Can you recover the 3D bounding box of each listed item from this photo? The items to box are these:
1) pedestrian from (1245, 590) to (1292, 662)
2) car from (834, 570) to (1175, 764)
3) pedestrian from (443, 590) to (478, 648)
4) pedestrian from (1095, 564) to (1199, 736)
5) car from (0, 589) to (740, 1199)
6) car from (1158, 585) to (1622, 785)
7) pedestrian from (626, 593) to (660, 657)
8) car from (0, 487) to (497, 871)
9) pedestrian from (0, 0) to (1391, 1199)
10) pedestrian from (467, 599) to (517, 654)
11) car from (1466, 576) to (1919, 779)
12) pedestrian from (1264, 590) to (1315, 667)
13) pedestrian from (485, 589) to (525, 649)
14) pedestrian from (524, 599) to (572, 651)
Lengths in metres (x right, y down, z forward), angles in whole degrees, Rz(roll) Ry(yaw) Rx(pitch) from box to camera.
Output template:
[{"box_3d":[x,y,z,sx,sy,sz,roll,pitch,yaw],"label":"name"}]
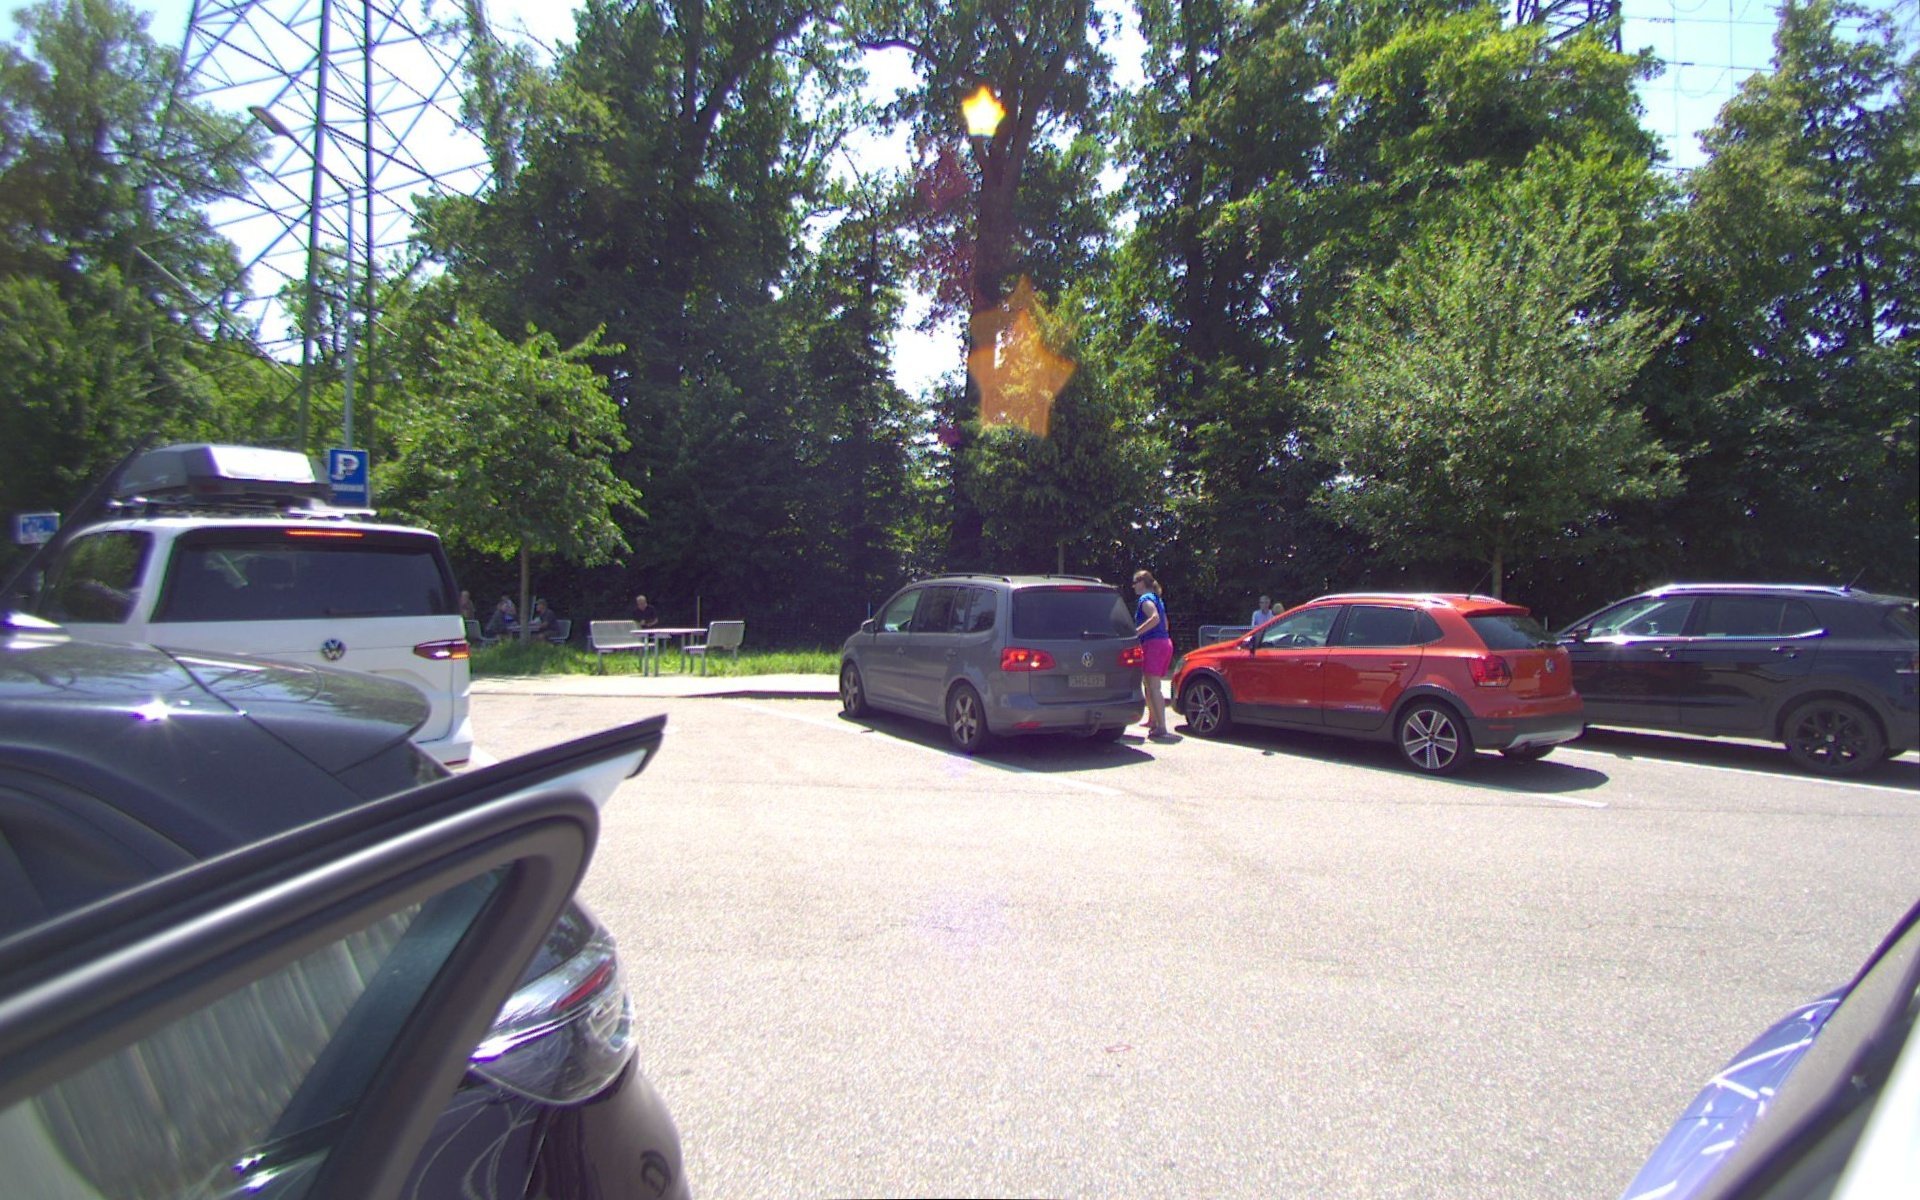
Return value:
[{"box_3d":[5.772,0.474,18.975,0.657,1.311,0.783,0,0,3],"label":"pedestrian"},{"box_3d":[0.238,0.515,10.517,1.713,1.601,3.996,0,1,-29],"label":"car"},{"box_3d":[-12.341,0.457,25.004,0.657,1.422,0.649,0,0,-39],"label":"pedestrian"},{"box_3d":[1.968,0.493,10.615,0.731,1.703,0.906,0,0,40],"label":"pedestrian"},{"box_3d":[-2.219,0.720,0.598,1.737,1.501,3.757,0,0,44],"label":"car"},{"box_3d":[3.838,0.609,9.647,1.687,1.484,3.793,0,1,-32],"label":"car"},{"box_3d":[-6.648,0.518,21.265,0.655,1.311,0.786,0,0,-16],"label":"pedestrian"},{"box_3d":[-5.336,0.357,7.312,4.543,1.936,1.884,1,1,40],"label":"car"},{"box_3d":[-0.232,0.539,0.679,0.874,1.865,0.621,0,0,-38],"label":"pedestrian"},{"box_3d":[-10.531,0.583,22.771,0.873,1.192,0.668,0,0,-41],"label":"pedestrian"},{"box_3d":[7.164,0.574,9.706,1.690,1.593,3.787,0,1,-39],"label":"car"},{"box_3d":[5.765,0.486,17.751,0.657,1.311,0.783,0,0,3],"label":"pedestrian"},{"box_3d":[-11.031,0.455,24.540,0.664,1.422,0.643,0,0,32],"label":"pedestrian"},{"box_3d":[-9.615,0.571,23.625,0.873,1.192,0.668,0,0,-41],"label":"pedestrian"}]
